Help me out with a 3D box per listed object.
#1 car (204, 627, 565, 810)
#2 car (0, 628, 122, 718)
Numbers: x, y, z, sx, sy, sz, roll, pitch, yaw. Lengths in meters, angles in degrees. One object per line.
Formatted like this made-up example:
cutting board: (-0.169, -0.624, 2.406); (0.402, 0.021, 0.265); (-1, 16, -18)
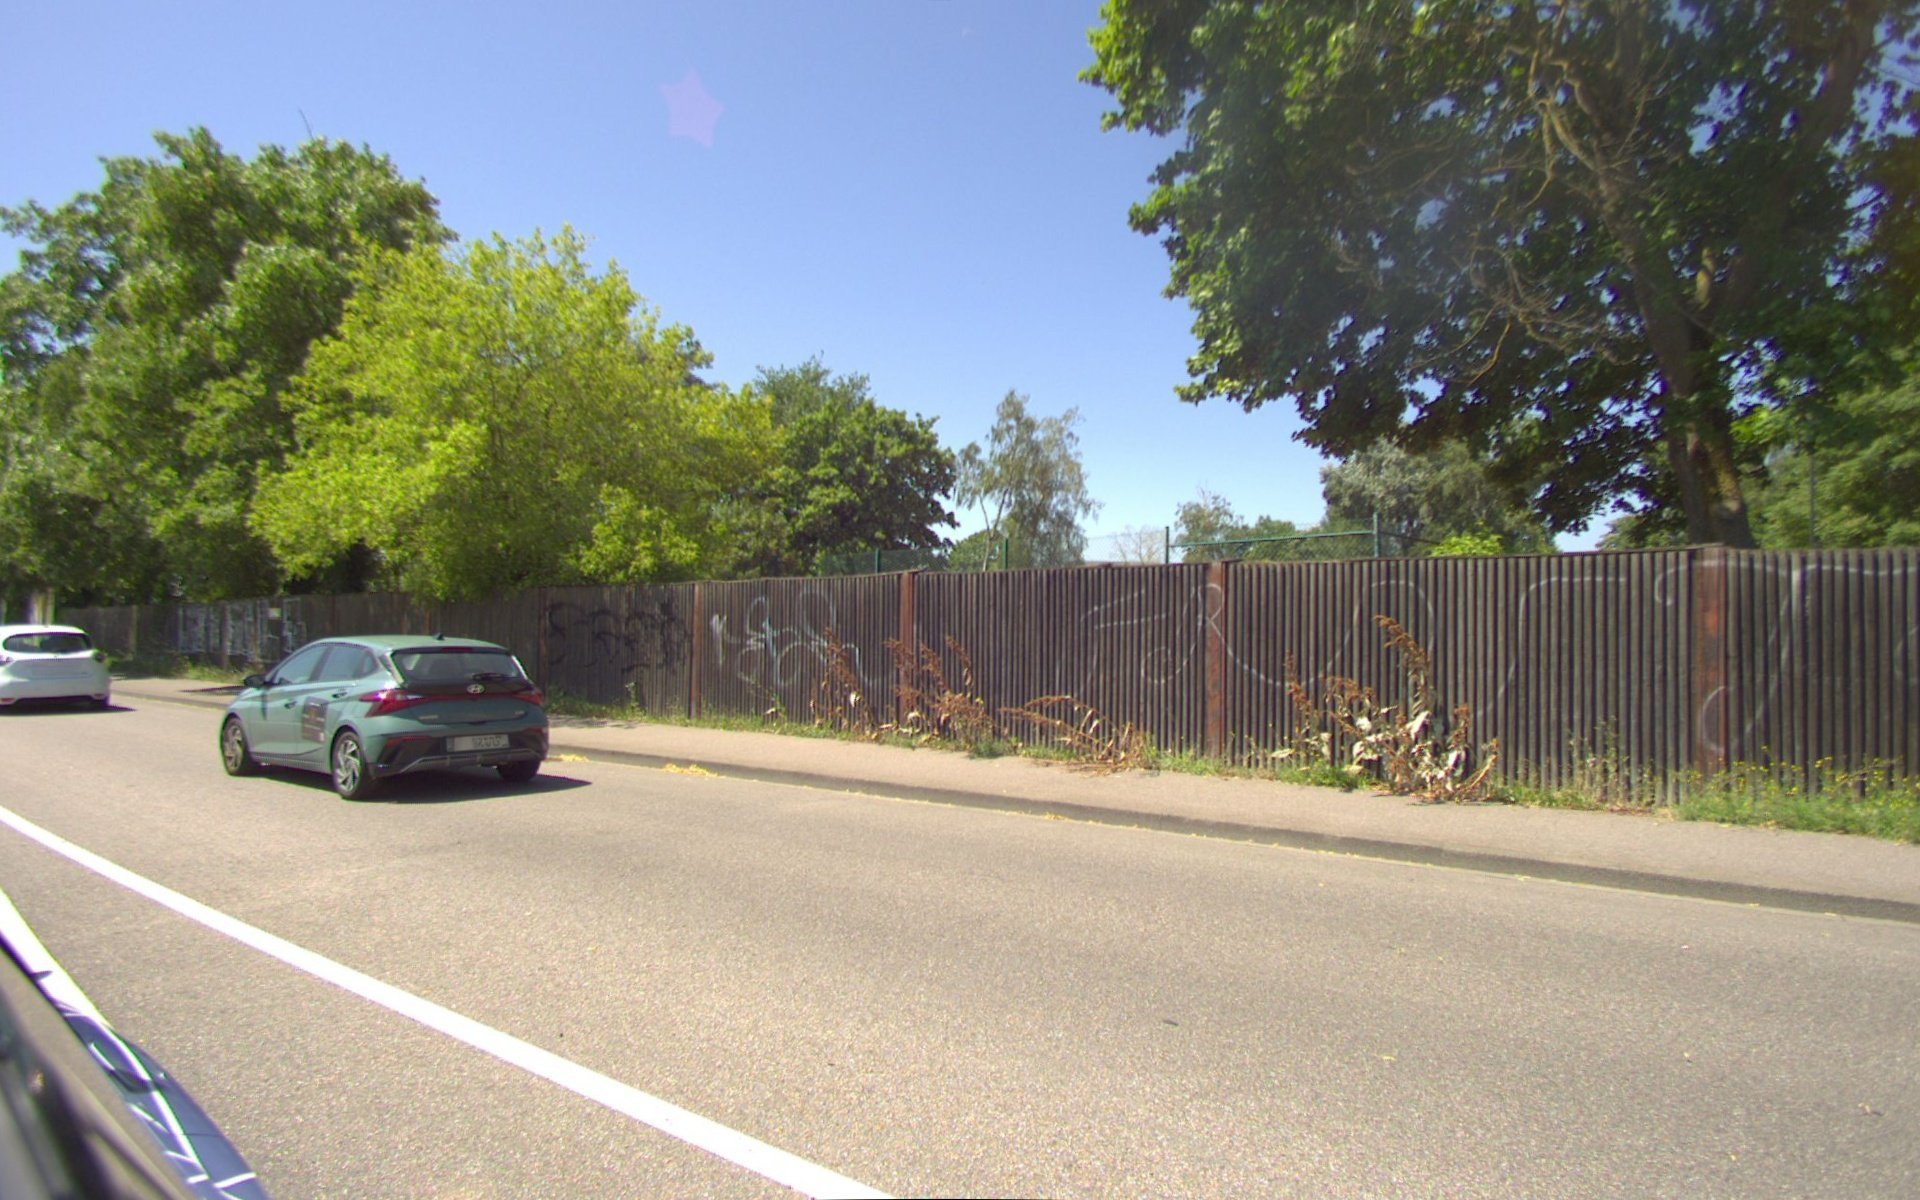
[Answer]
car: (-5.798, 1.024, 10.096); (3.686, 1.497, 1.739); (-1, -2, 35)
car: (-17.103, 1.270, 18.584); (3.686, 1.497, 1.739); (-1, -2, 35)
